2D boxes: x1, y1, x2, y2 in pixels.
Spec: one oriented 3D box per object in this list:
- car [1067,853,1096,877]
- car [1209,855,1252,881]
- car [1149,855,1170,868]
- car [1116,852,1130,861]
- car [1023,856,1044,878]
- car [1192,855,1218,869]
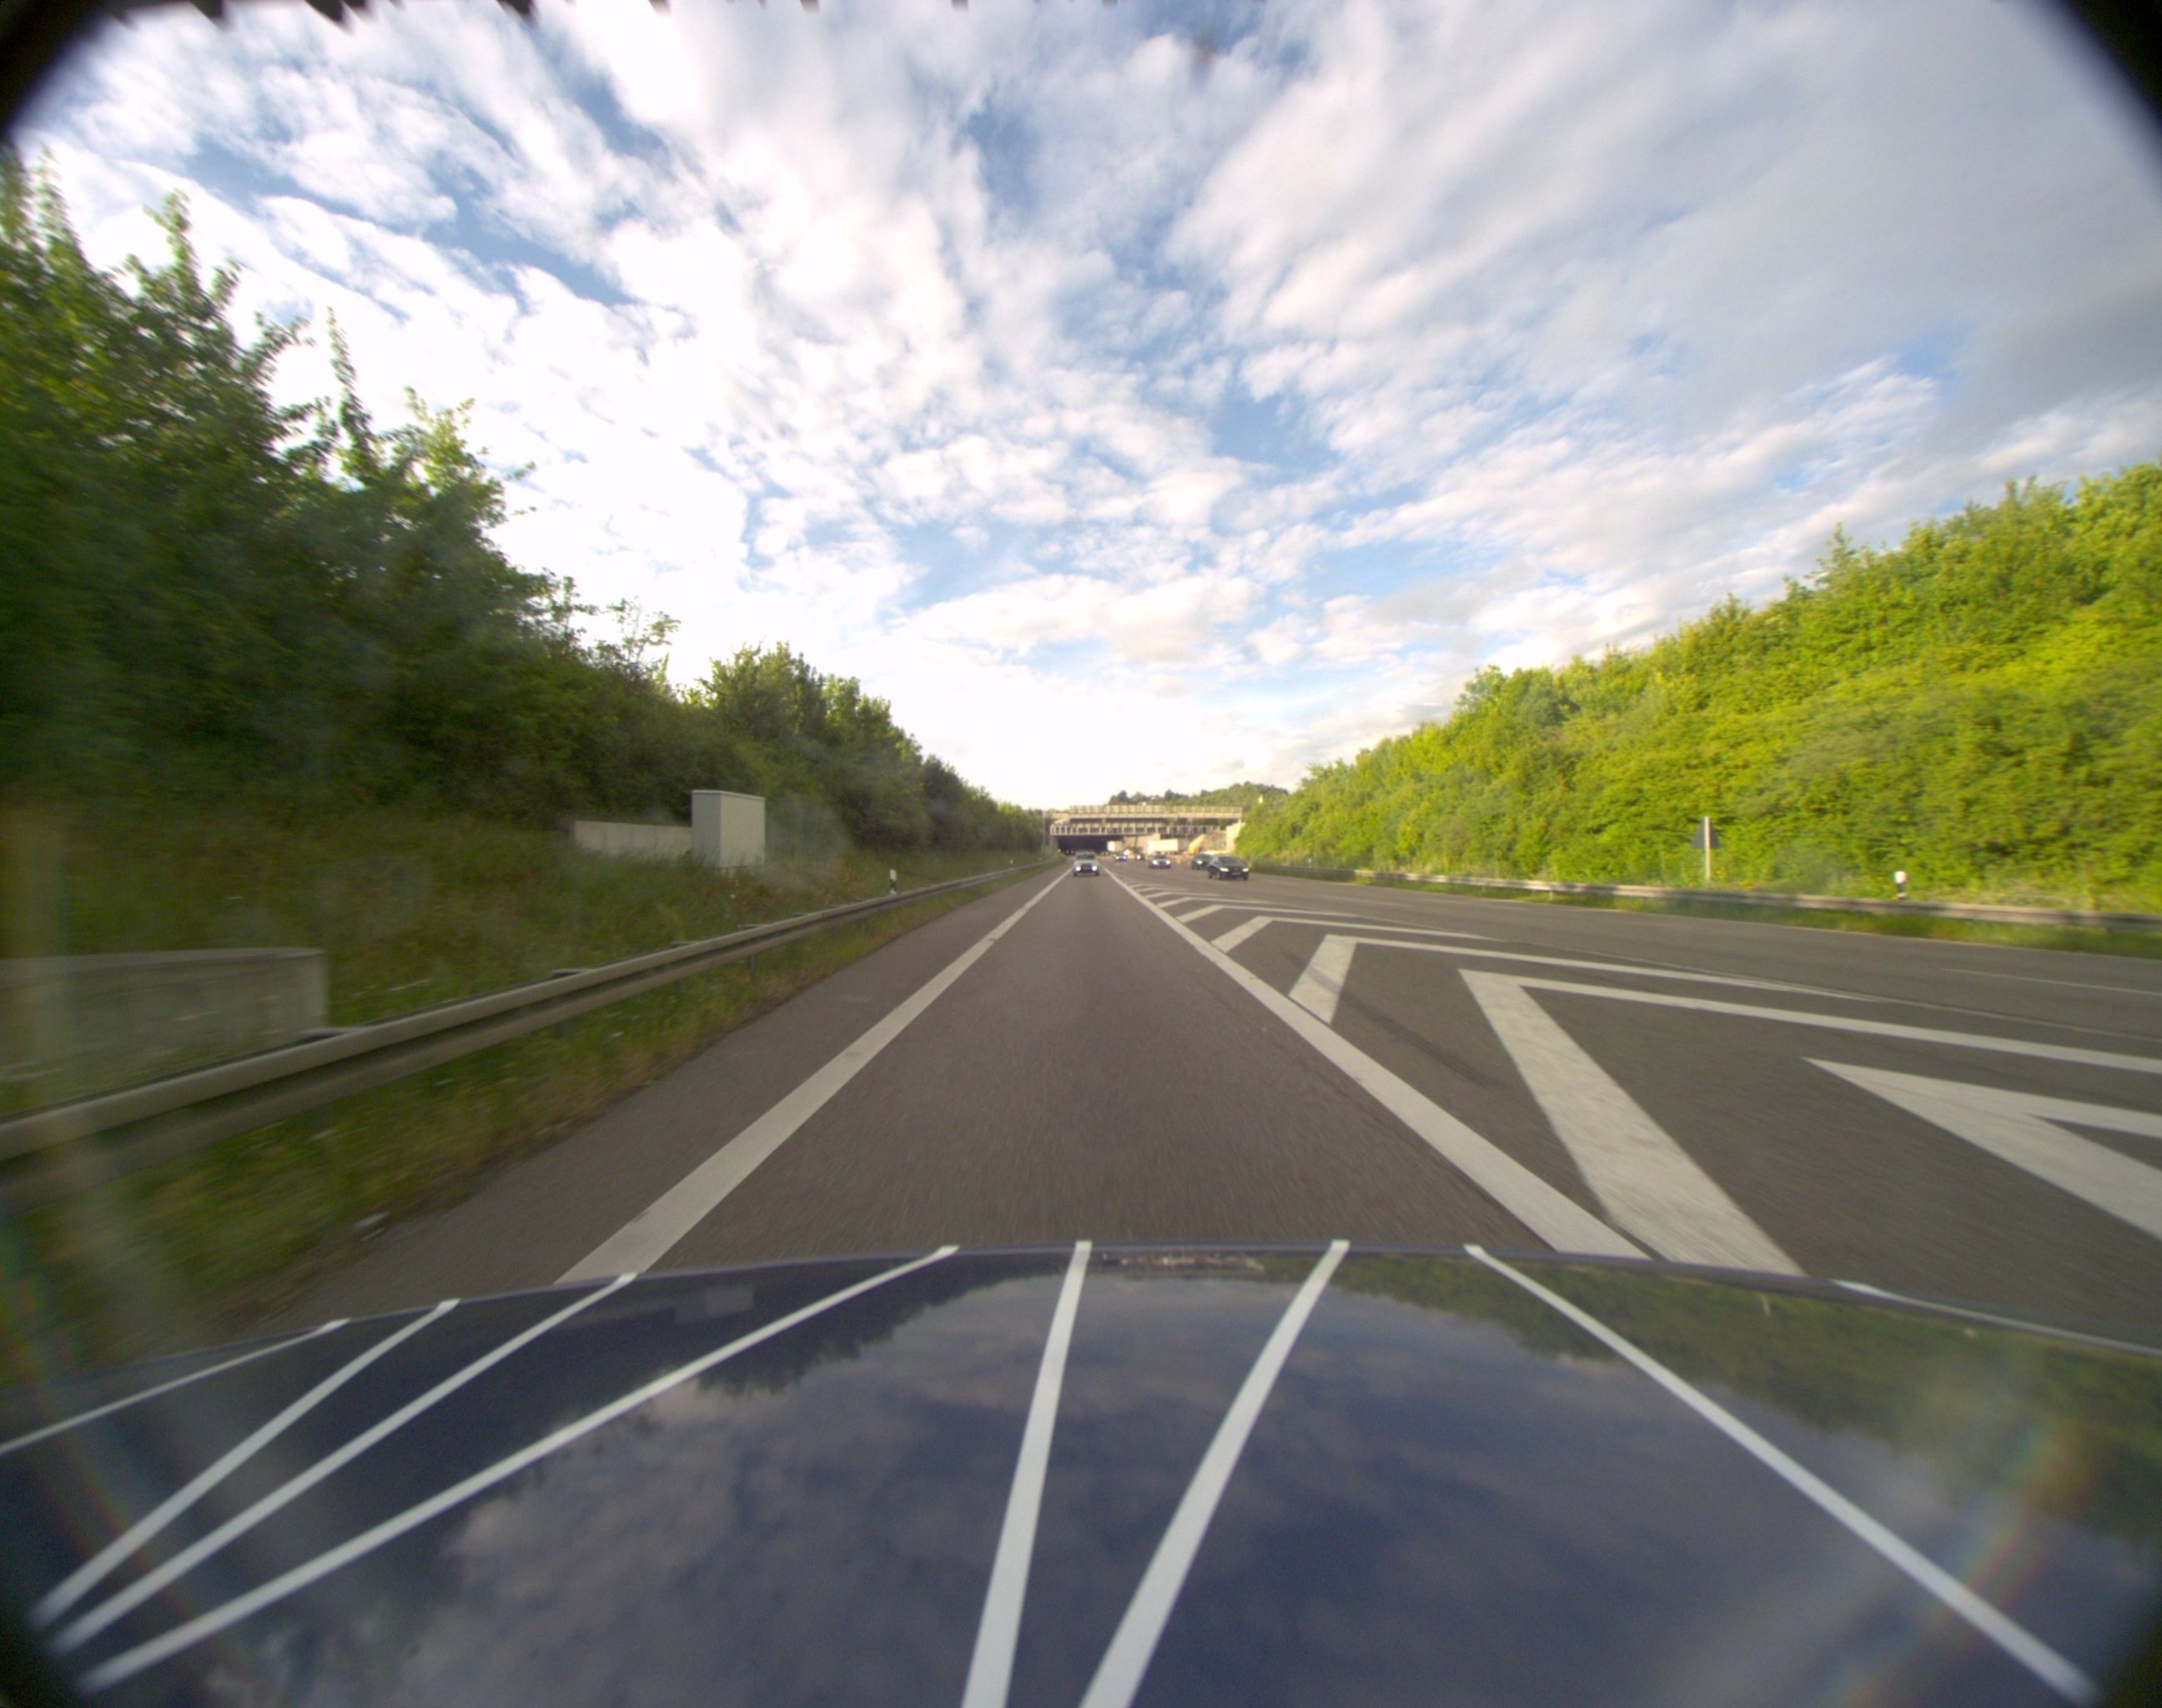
[{"bbox_3d":[0.074,0.773,56.256,1.904,1.655,4.000,-1,0,2],"label":"car"},{"bbox_3d":[8.821,0.798,45.100,1.762,1.398,4.000,0,0,1],"label":"car"},{"bbox_3d":[7.915,0.738,77.025,1.797,1.284,4.000,0,0,1],"label":"car"},{"bbox_3d":[7.704,0.407,140.080,1.999,1.472,4.944,-1,0,-4],"label":"car"},{"bbox_3d":[-4.682,1.278,74.360,1.866,2.002,3.998,-2,0,-5],"label":"car"},{"bbox_3d":[11.884,0.756,73.268,1.880,1.284,4.000,-1,0,1],"label":"car"}]
